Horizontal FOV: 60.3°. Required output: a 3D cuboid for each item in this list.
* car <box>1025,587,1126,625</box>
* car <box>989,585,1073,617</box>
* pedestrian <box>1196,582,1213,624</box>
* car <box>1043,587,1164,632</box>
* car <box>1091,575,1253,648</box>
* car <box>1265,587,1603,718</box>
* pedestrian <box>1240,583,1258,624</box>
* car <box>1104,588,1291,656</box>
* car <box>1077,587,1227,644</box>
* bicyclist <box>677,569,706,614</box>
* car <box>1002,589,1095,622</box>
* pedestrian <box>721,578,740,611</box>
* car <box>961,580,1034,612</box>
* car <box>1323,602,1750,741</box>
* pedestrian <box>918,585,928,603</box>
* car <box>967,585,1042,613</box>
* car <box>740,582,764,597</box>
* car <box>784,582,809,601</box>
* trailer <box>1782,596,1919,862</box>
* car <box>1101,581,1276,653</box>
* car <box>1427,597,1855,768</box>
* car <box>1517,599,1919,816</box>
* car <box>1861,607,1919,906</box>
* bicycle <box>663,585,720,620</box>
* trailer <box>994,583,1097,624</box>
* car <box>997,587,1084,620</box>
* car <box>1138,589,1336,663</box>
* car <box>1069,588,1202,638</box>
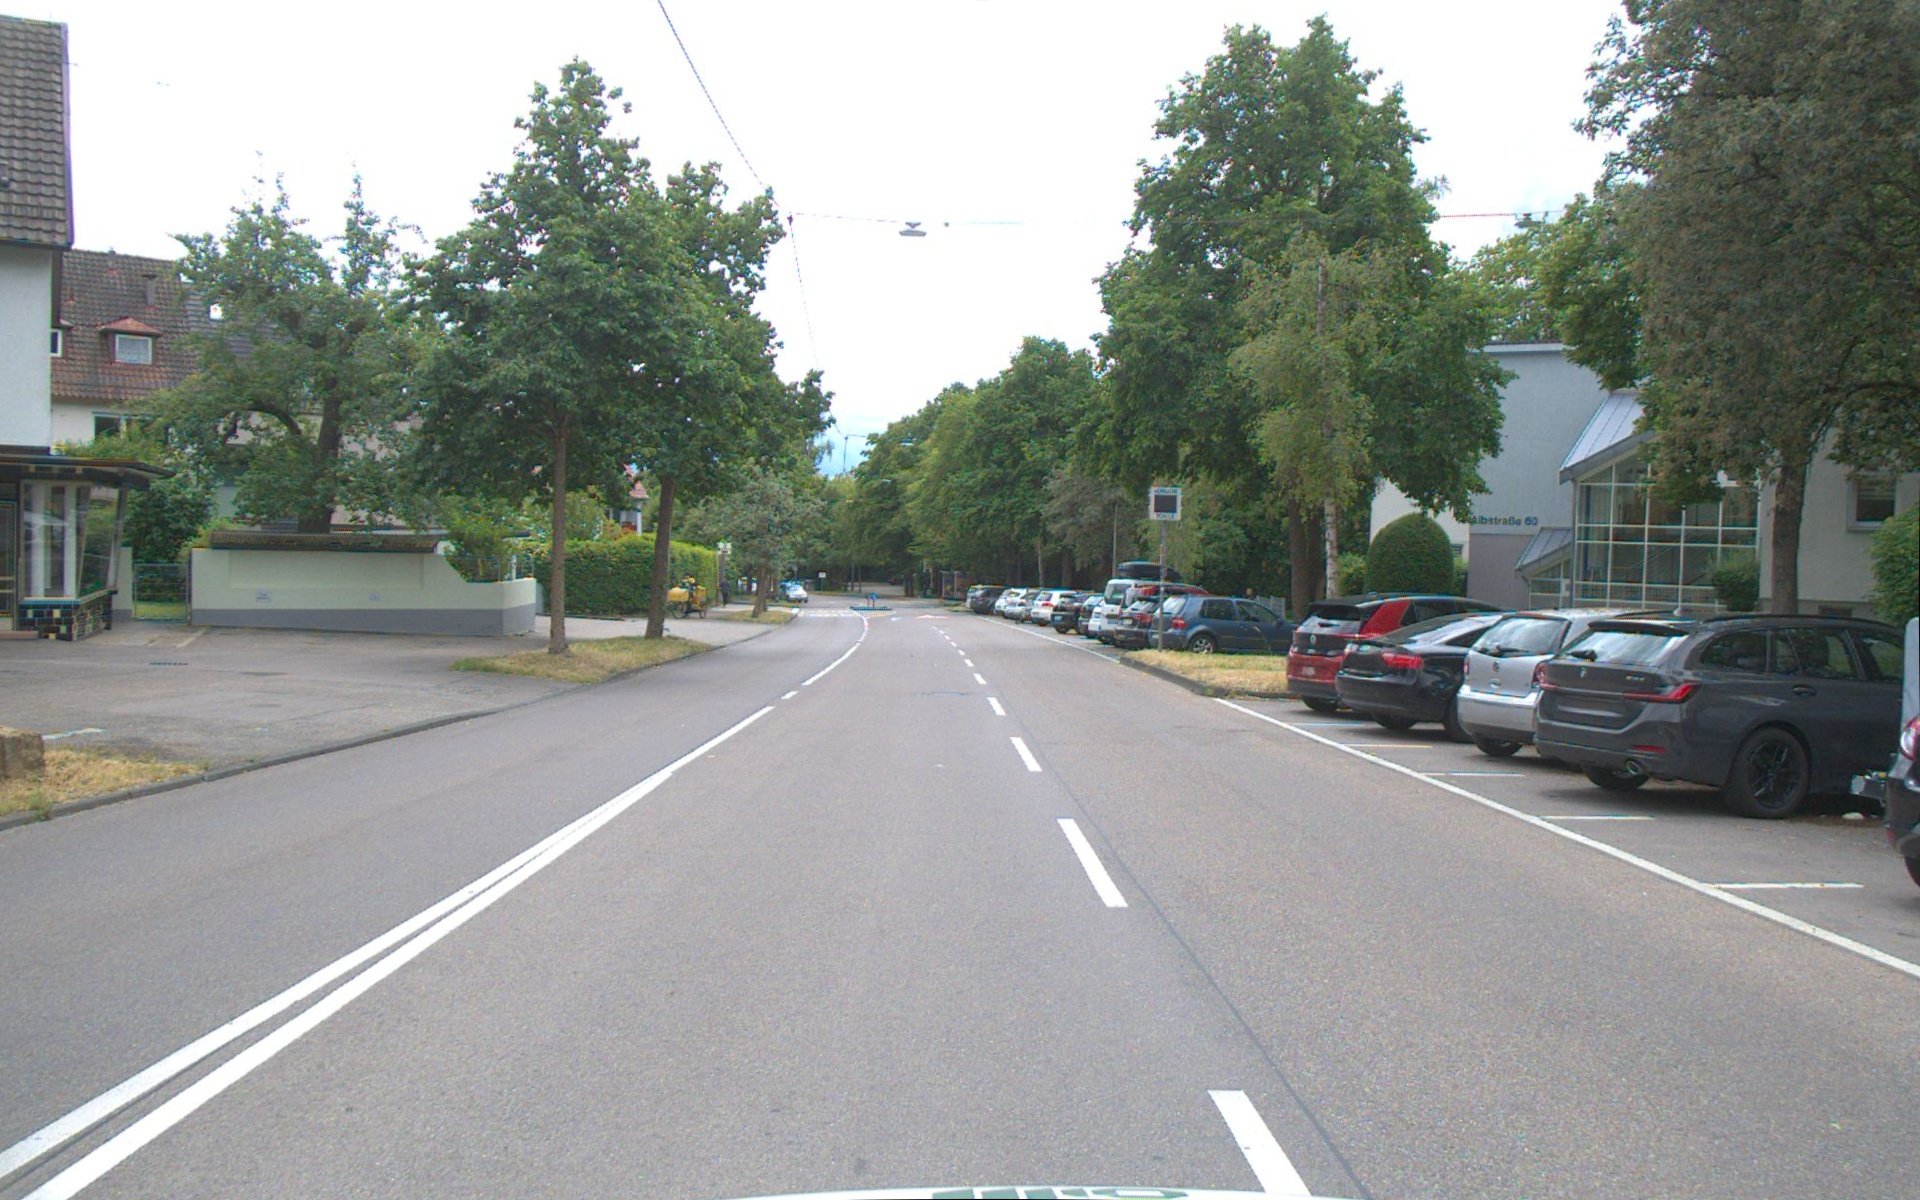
[{"bbox_3d":[4.835,0.257,69.362,3.831,1.474,1.732,2,0,-23],"label":"car"},{"bbox_3d":[3.554,0.068,82.557,3.828,1.454,1.733,2,0,-21],"label":"car"},{"bbox_3d":[10.101,0.132,68.449,0.636,1.700,0.744,1,0,4],"label":"pedestrian"},{"bbox_3d":[5.038,0.333,58.213,3.835,1.474,1.830,2,0,-25],"label":"car"},{"bbox_3d":[5.736,0.310,44.680,4.039,1.785,1.771,2,0,-28],"label":"car"},{"bbox_3d":[6.101,0.650,21.280,4.016,1.542,1.721,1,0,-24],"label":"car"},{"bbox_3d":[11.833,0.135,67.720,0.636,1.631,0.744,1,0,4],"label":"pedestrian"},{"bbox_3d":[5.563,0.514,38.837,3.967,1.430,1.747,2,0,-19],"label":"car"},{"bbox_3d":[5.580,0.449,48.210,3.903,1.474,1.910,2,0,-17],"label":"car"},{"bbox_3d":[-10.390,-0.326,64.007,0.828,1.727,0.713,2,1,23],"label":"bicyclist"},{"bbox_3d":[3.962,0.233,74.096,3.836,1.332,1.730,2,0,-26],"label":"car"},{"bbox_3d":[-12.456,-0.298,89.762,0.955,1.761,0.848,1,0,-5],"label":"pedestrian"},{"bbox_3d":[2.139,-0.230,95.309,3.828,1.697,1.733,2,0,-21],"label":"car"},{"bbox_3d":[6.367,0.779,18.381,4.241,1.364,1.727,2,0,-15],"label":"car"},{"bbox_3d":[-3.360,-0.531,149.951,0.725,1.597,0.652,1,0,10],"label":"pedestrian"},{"bbox_3d":[2.486,-0.050,92.530,3.828,1.454,1.733,2,0,-21],"label":"car"},{"bbox_3d":[-20.436,-1.047,162.189,1.835,1.496,3.986,1,1,-14],"label":"car"},{"bbox_3d":[-13.288,-0.735,134.125,1.832,1.496,3.993,1,1,-8],"label":"car"},{"bbox_3d":[7.111,0.821,10.815,2.935,1.569,1.299,2,1,-14],"label":"trailer"},{"bbox_3d":[5.760,0.424,41.754,3.934,1.648,1.876,2,0,-17],"label":"car"},{"bbox_3d":[6.505,0.780,15.876,3.552,1.470,1.627,2,1,-17],"label":"car"},{"bbox_3d":[6.692,0.815,12.867,4.272,1.470,1.627,2,1,-16],"label":"car"},{"bbox_3d":[6.738,0.852,8.279,3.774,1.480,1.629,2,0,-13],"label":"car"},{"bbox_3d":[-10.389,0.078,64.050,0.828,1.288,2.651,2,1,24],"label":"bicycle"},{"bbox_3d":[3.715,0.134,71.510,4.094,1.600,1.702,2,0,-21],"label":"trailer"},{"bbox_3d":[3.889,0.152,79.990,3.828,1.454,1.733,2,0,-21],"label":"car"},{"bbox_3d":[6.063,0.563,36.323,3.900,1.430,1.749,2,0,-16],"label":"car"},{"bbox_3d":[5.649,0.415,53.240,3.829,1.474,1.833,2,0,-21],"label":"car"}]
